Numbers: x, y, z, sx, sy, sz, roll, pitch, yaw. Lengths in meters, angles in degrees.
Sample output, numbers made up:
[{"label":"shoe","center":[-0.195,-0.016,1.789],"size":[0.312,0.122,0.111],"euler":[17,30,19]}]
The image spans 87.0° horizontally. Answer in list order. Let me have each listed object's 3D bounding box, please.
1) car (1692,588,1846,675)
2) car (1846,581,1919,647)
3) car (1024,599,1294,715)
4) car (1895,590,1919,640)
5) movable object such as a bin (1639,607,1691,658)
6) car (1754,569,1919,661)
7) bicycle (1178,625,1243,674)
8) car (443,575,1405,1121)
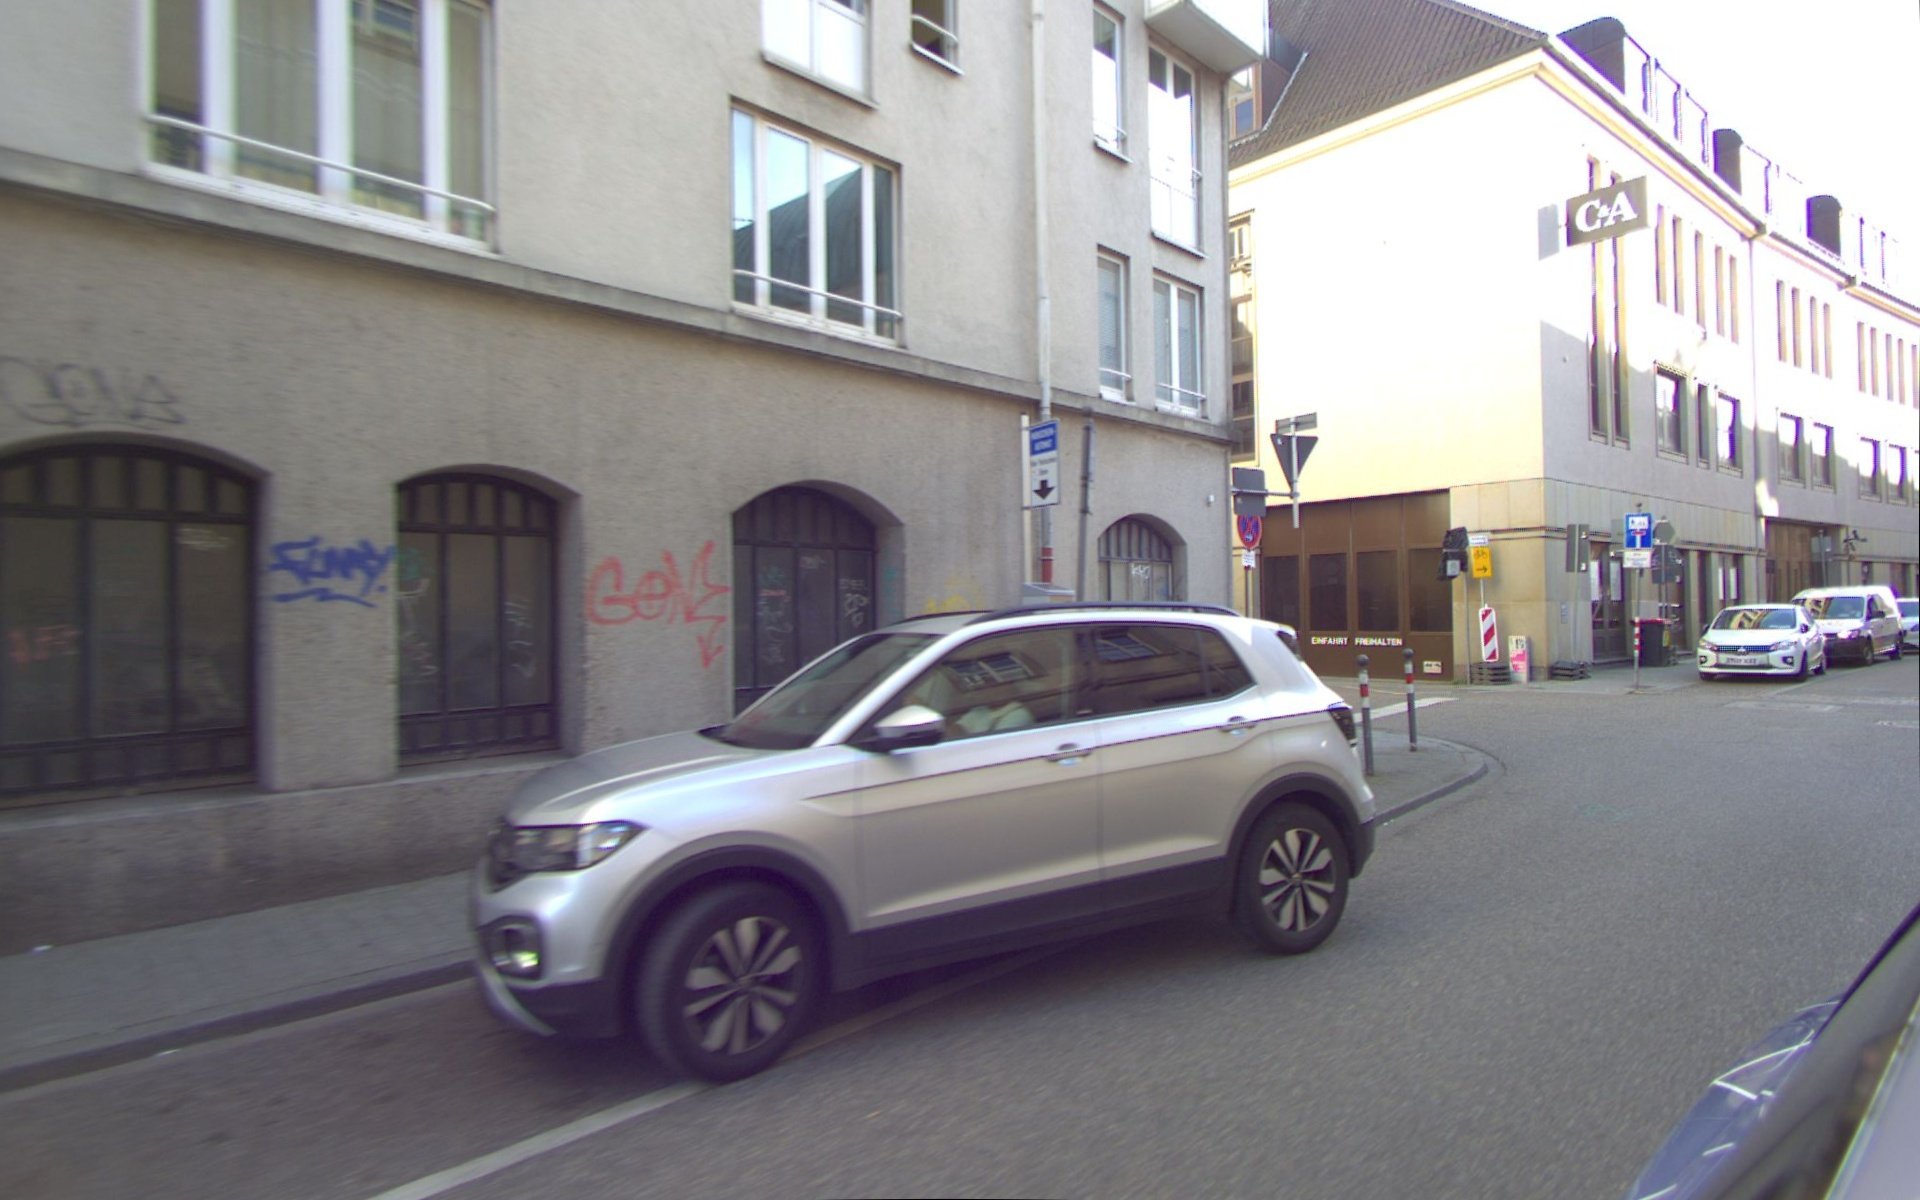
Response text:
[{"label":"car","center":[16.282,0.596,20.307],"size":[3.931,1.568,1.733],"euler":[0,-2,-42]},{"label":"car","center":[25.865,0.345,27.519],"size":[3.785,1.605,1.775],"euler":[-1,-5,-37]},{"label":"car","center":[3.048,0.851,16.247],"size":[1.735,1.588,4.077],"euler":[-1,-1,-39]},{"label":"car","center":[33.292,0.402,34.092],"size":[3.784,1.605,1.775],"euler":[-1,-5,-35]},{"label":"movable object such as a bin","center":[15.763,0.730,22.626],"size":[0.913,1.100,0.687],"euler":[0,-2,-40]},{"label":"car","center":[20.917,0.332,23.939],"size":[5.098,1.886,1.947],"euler":[-1,-5,-37]},{"label":"bicycle","center":[5.884,1.152,23.817],"size":[0.478,1.088,1.653],"euler":[-1,-2,-27]},{"label":"car","center":[-0.138,0.742,4.670],"size":[3.904,1.579,1.833],"euler":[-1,-2,-25]}]
